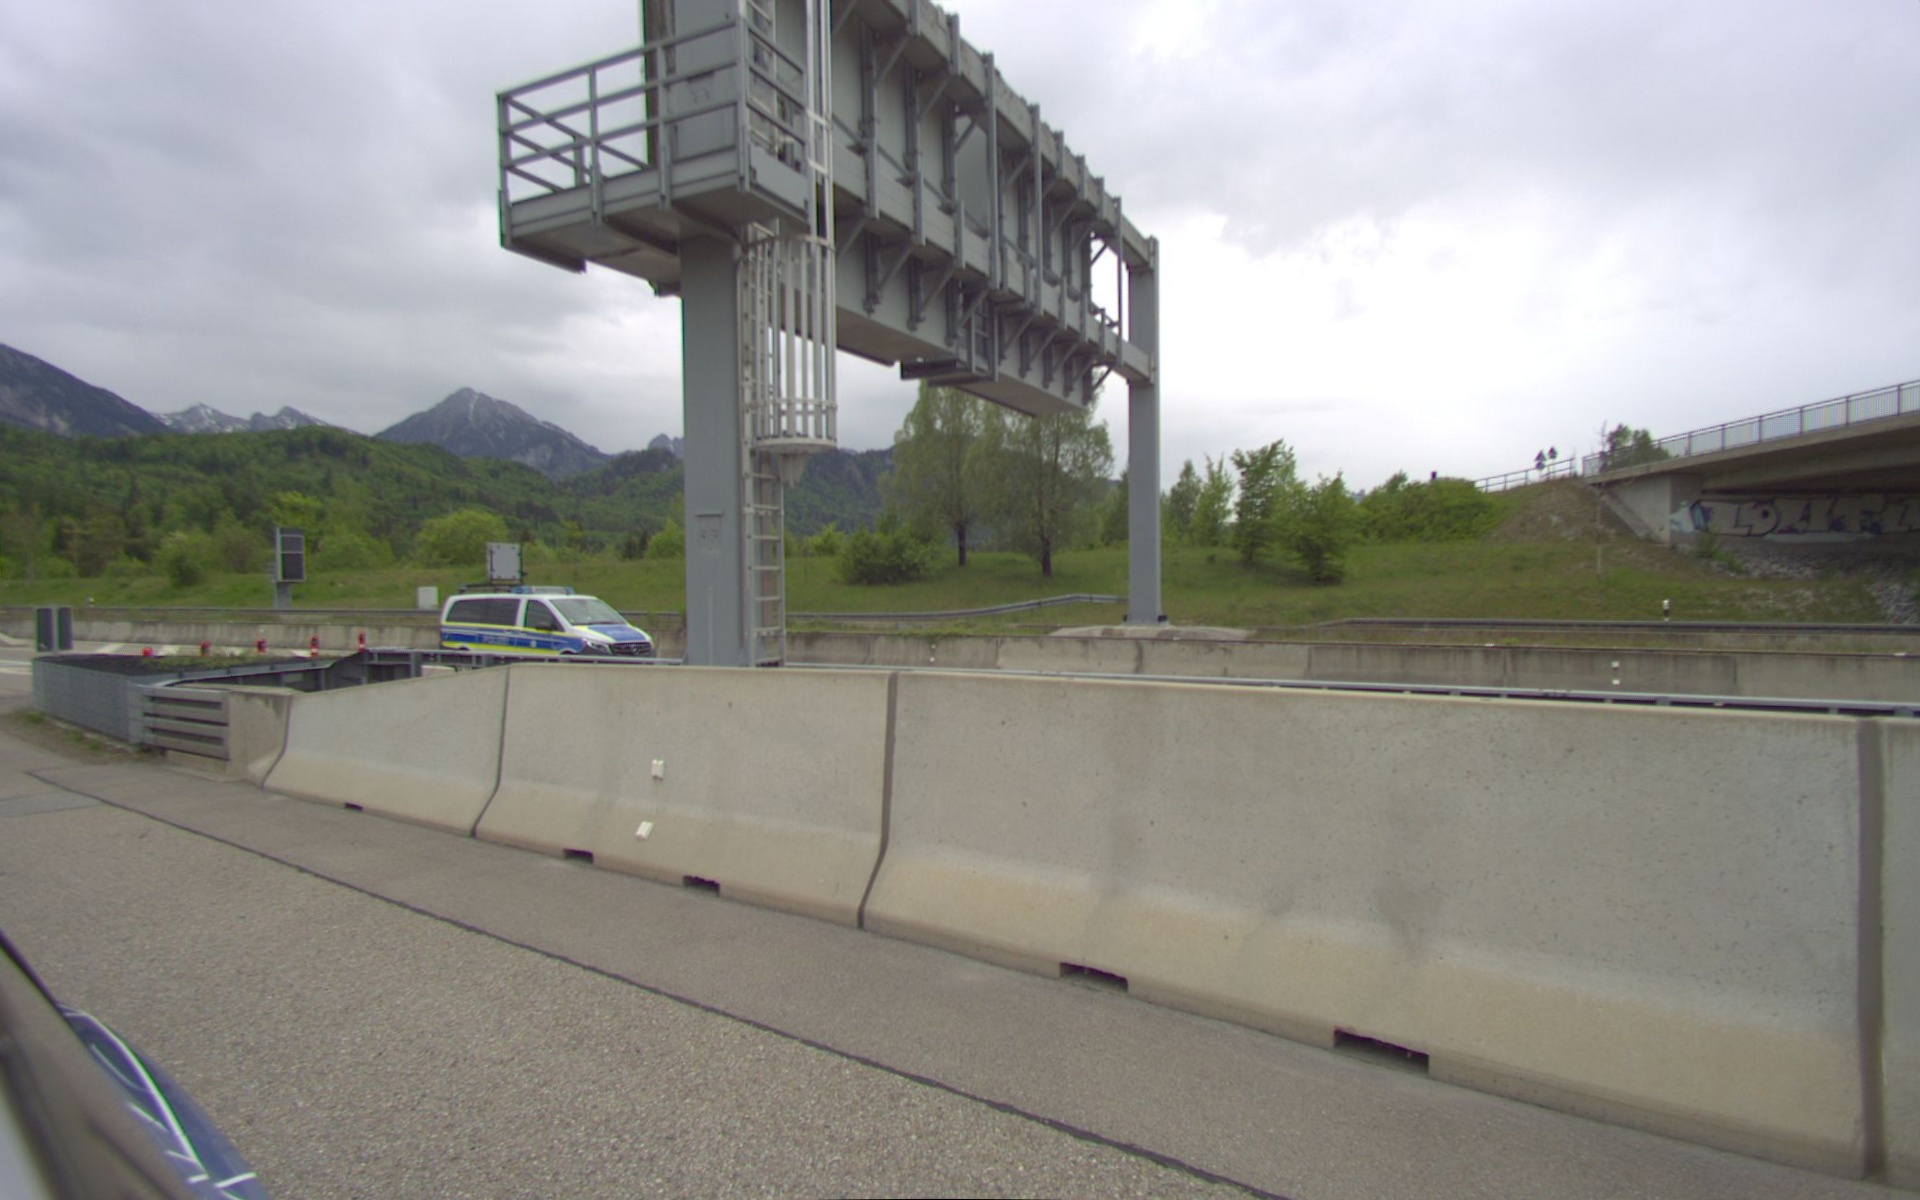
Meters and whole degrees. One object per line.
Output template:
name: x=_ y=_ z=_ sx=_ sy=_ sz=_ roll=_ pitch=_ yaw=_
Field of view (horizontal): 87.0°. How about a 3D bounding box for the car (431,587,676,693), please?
car: x=-8.648 y=0.787 z=21.449 sx=5.028 sy=2.029 sz=2.085 roll=0 pitch=-1 yaw=28
